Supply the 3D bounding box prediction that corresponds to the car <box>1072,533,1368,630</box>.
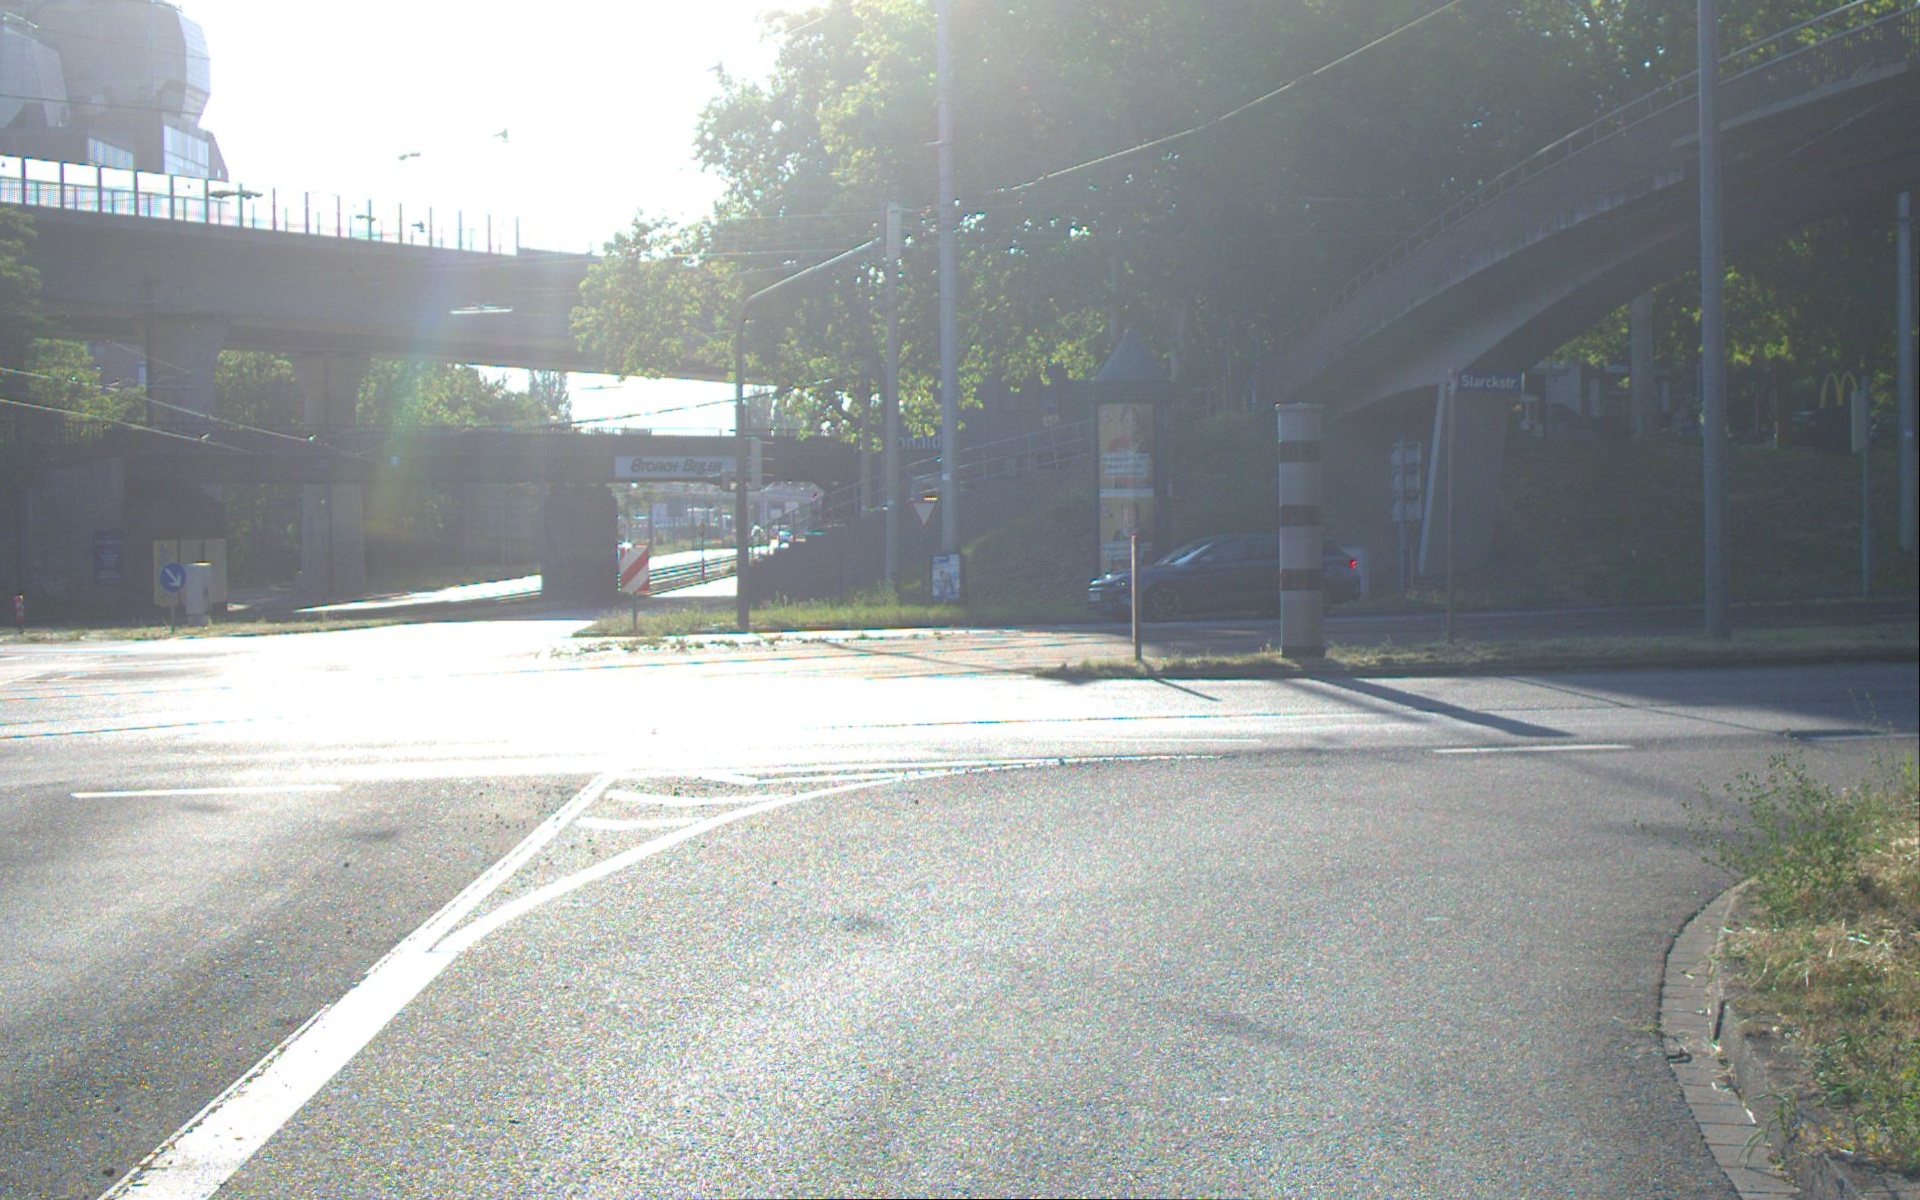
[{"bbox_3d":[4.303,-0.309,57.031,4.574,1.569,1.694,0,1,-17],"label":"car"}]
